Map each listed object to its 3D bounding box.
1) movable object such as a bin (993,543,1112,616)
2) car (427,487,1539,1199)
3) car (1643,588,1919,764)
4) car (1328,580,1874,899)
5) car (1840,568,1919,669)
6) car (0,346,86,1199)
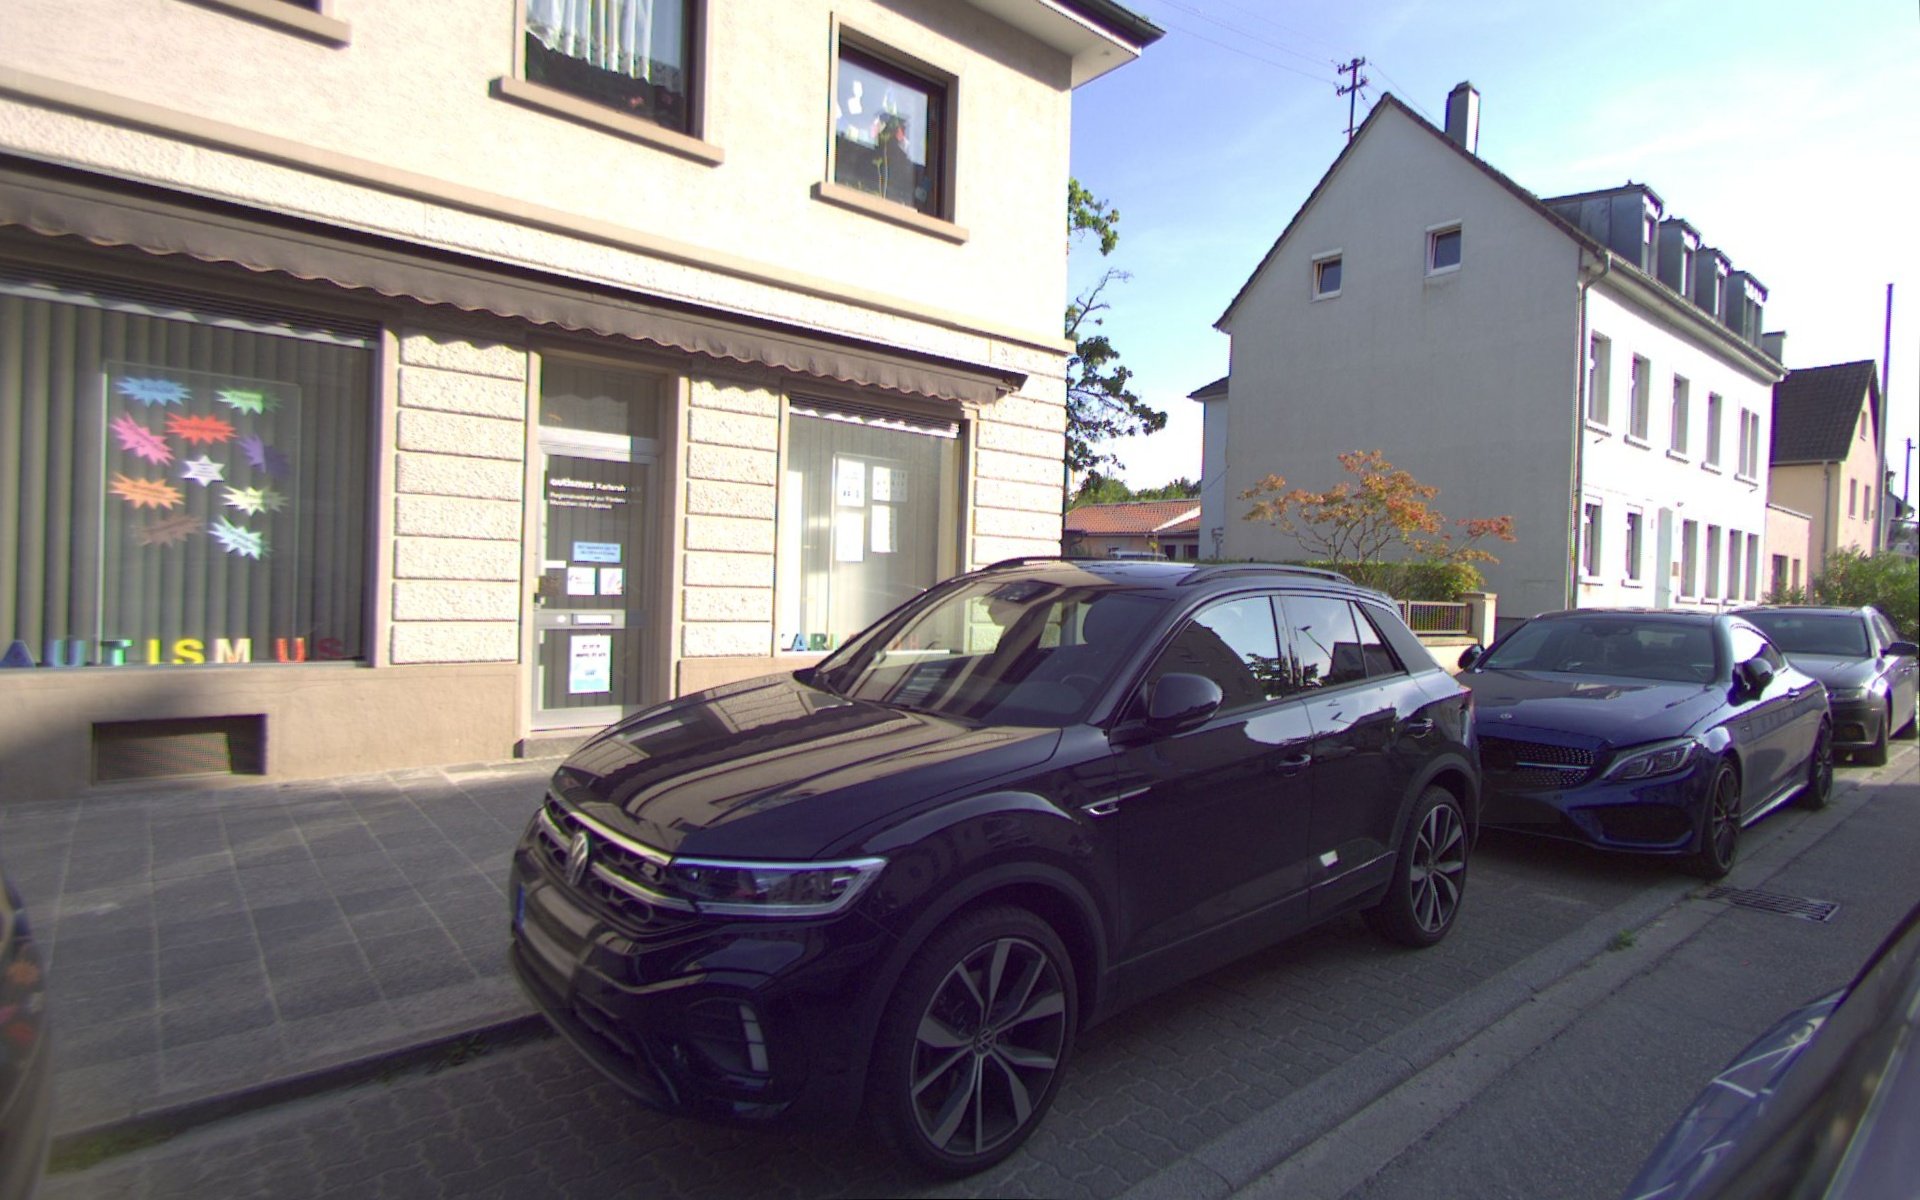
[{"bbox_3d":[2.494,-0.572,27.559,1.940,1.861,2.569,1,3,-38],"label":"movable object such as a bin"},{"bbox_3d":[0.469,0.541,3.994,4.242,1.579,1.833,0,2,-41],"label":"car"},{"bbox_3d":[8.955,0.654,10.700,4.417,1.438,1.783,1,2,-41],"label":"car"},{"bbox_3d":[4.580,0.655,6.914,4.527,1.437,1.834,0,2,-40],"label":"car"},{"bbox_3d":[19.903,0.408,20.603,4.525,1.878,2.082,1,2,-38],"label":"car"},{"bbox_3d":[-3.197,0.531,0.298,4.383,1.650,1.834,0,2,-40],"label":"car"}]
